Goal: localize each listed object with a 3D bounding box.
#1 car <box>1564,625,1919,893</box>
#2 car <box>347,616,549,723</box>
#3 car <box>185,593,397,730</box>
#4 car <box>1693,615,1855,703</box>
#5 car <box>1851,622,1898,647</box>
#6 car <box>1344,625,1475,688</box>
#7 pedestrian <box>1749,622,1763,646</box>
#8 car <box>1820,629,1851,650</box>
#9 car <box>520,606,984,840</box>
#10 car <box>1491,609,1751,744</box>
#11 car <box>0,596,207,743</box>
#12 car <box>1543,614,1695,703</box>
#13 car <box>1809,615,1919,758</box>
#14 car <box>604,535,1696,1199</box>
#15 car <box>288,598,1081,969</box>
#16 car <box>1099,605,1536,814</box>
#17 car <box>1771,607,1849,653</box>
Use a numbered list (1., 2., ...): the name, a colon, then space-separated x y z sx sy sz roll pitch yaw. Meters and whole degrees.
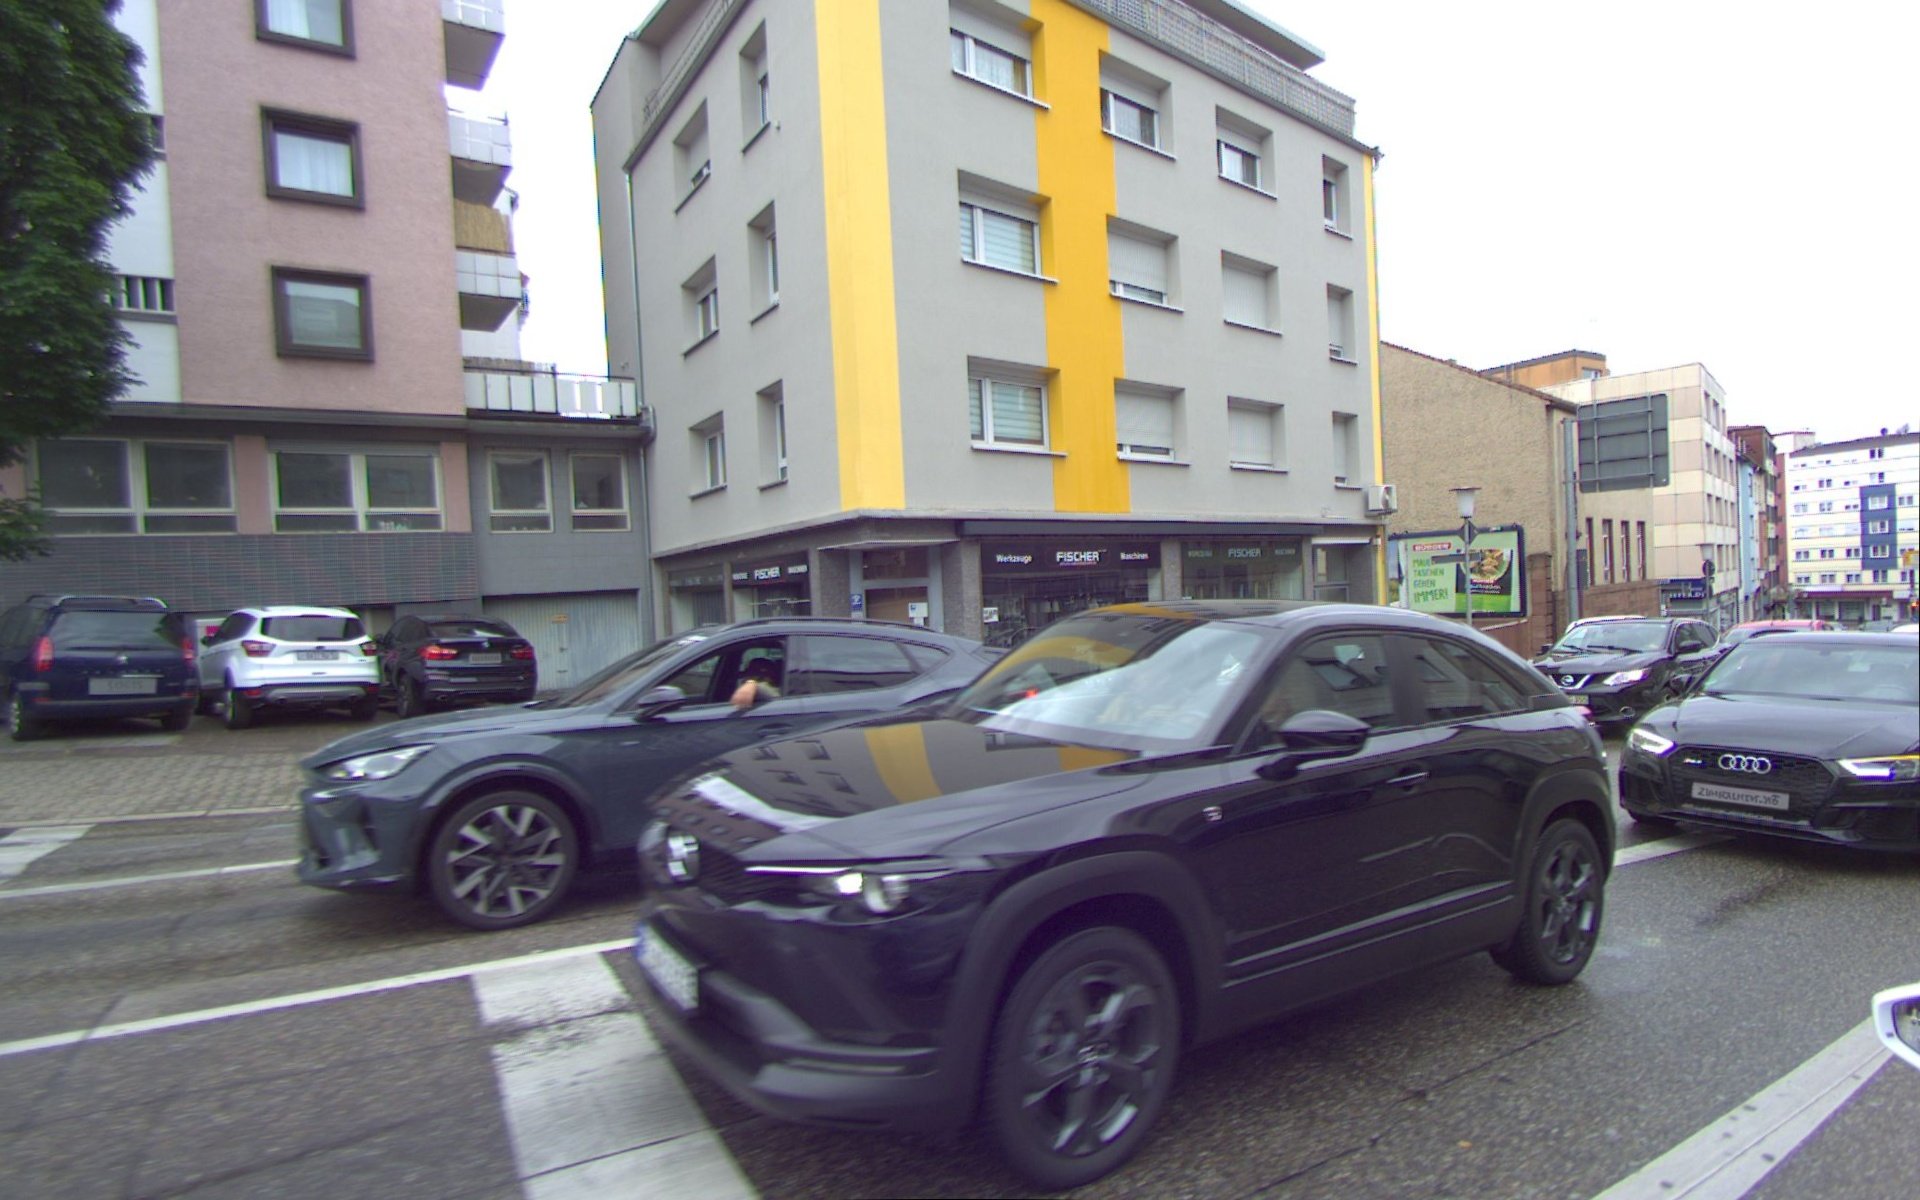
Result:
1. car: 6.406 0.911 7.364 4.335 1.433 1.795 1 -2 -35
2. car: -8.520 1.053 16.563 1.849 1.516 3.947 3 -2 -44
3. car: -10.292 0.894 15.338 3.945 1.817 1.850 -2 -3 44
4. car: 15.916 1.123 19.566 4.098 1.535 1.725 1 -4 -41
5. car: 57.882 2.185 63.557 4.257 1.500 1.683 1 0 -41
6. car: 11.953 1.432 26.559 1.674 1.474 4.635 -1 -1 45
7. pedestrian: 56.484 2.395 71.288 0.731 1.675 0.603 -1 3 40
8. car: 70.780 3.173 81.185 1.696 1.607 4.121 -4 -4 42
9. car: -1.774 0.911 9.106 3.744 1.617 1.721 -1 0 -39
10. car: 9.497 1.029 14.320 4.304 1.652 1.793 1 -4 -38
11. car: -12.332 0.881 14.017 4.277 1.751 1.767 0 -2 37
12. car: 15.053 1.304 22.887 4.026 1.853 1.714 1 -4 -39
13. car: 12.111 0.979 12.321 4.523 1.541 1.792 1 -2 -39
14. car: 1.013 0.720 4.076 4.332 1.557 1.808 2 -2 -33
15. car: -1.503 0.792 6.205 4.332 1.497 1.808 -1 0 -33
16. car: 3.603 0.883 9.860 4.332 1.563 1.796 -1 0 -33
17. car: 32.094 1.155 37.891 3.898 1.631 1.642 1 -4 -41
